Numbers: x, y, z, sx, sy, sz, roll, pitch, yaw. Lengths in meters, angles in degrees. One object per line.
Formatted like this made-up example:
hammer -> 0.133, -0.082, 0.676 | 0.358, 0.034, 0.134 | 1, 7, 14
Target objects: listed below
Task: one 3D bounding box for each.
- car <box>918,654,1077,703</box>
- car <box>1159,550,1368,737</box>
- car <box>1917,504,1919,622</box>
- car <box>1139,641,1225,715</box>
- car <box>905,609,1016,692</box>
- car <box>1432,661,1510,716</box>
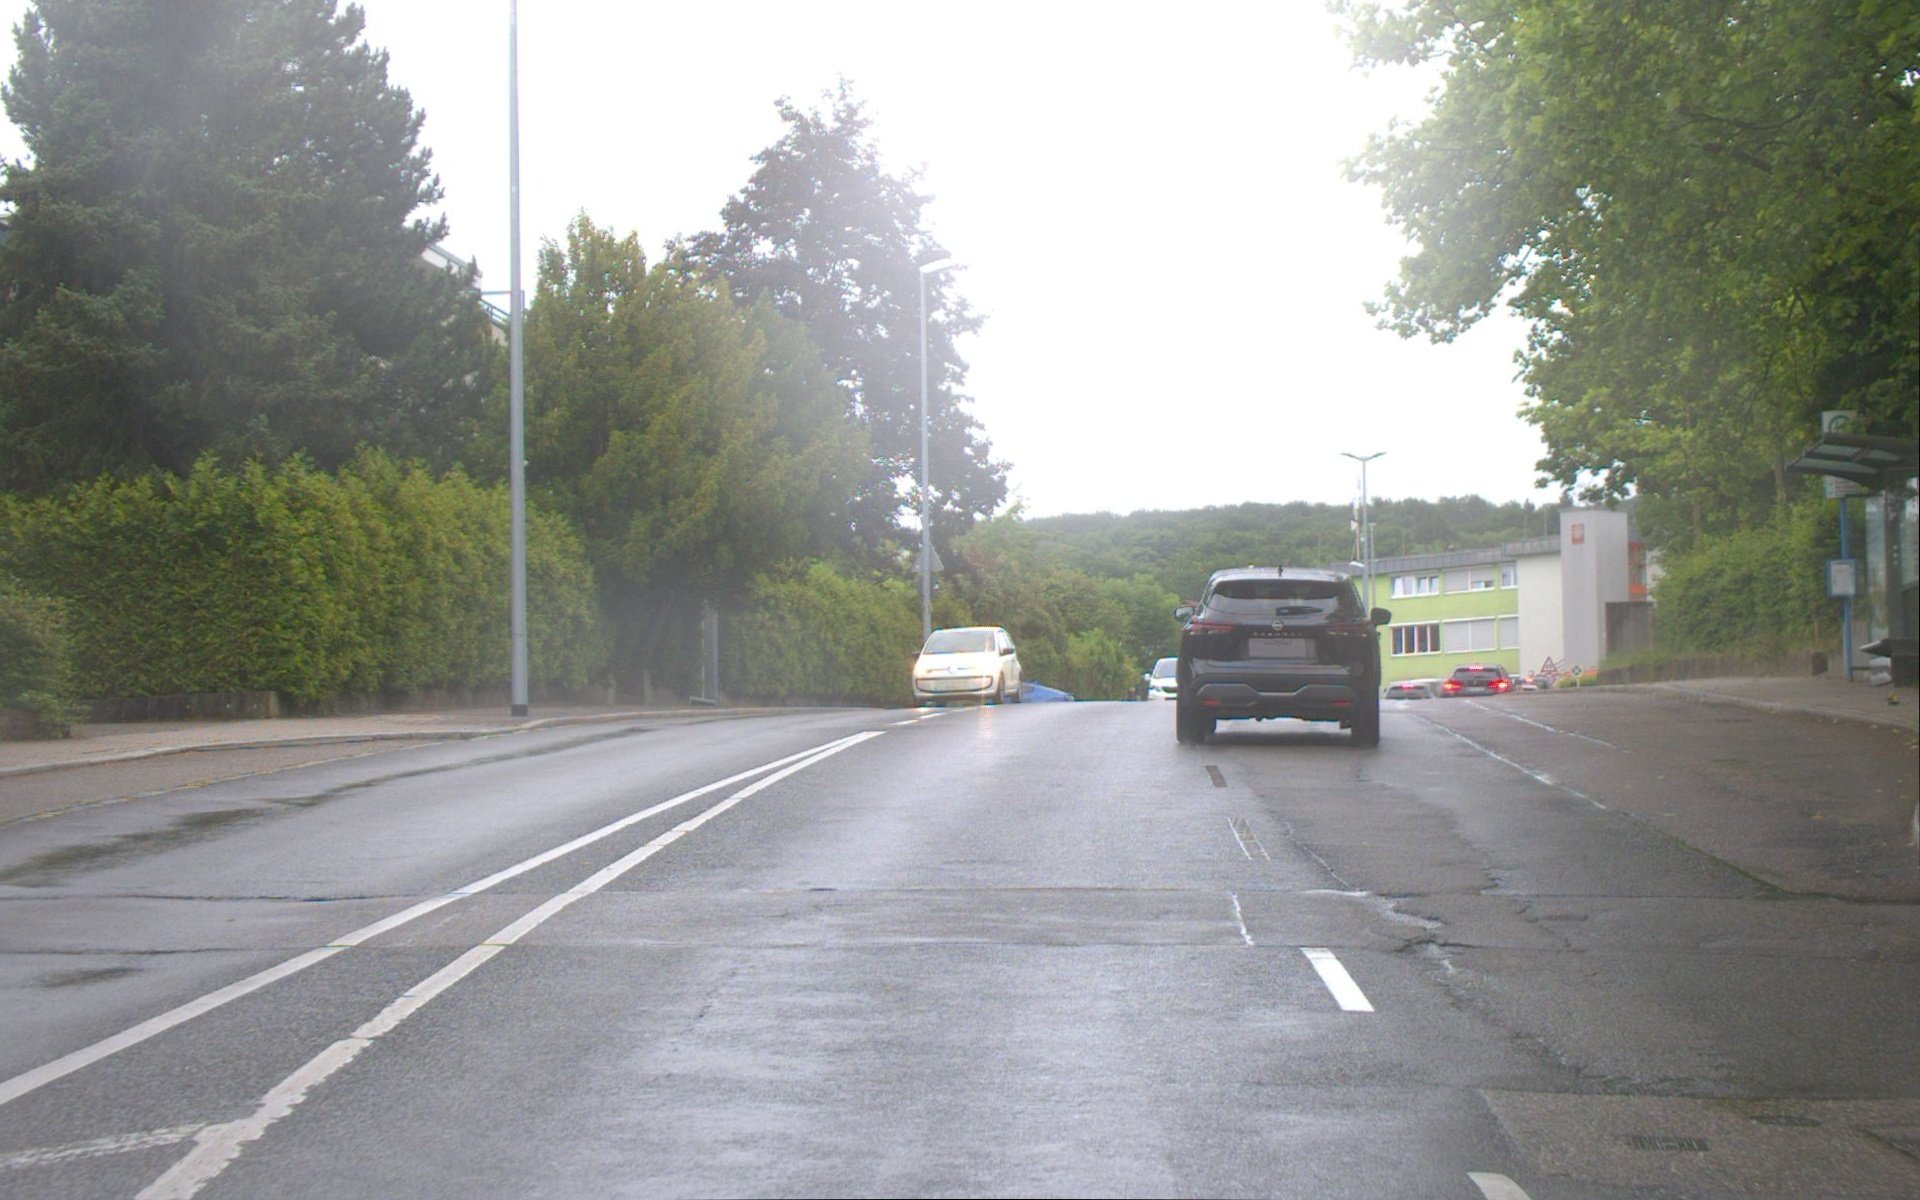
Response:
car -> 1.106, 2.301, 100.643 | 4.483, 1.358, 1.804 | 1, -2, 7
car -> 2.807, 0.355, 32.134 | 1.790, 1.598, 4.253 | 1, 1, 4
car -> 19.635, -0.667, 63.948 | 2.044, 2.276, 5.018 | 0, 1, -3
car -> 6.179, 2.146, 95.328 | 1.864, 1.910, 5.027 | -3, -1, 9
car -> 0.029, 0.909, 62.627 | 1.685, 1.449, 3.397 | -1, 0, 6
car -> 13.791, 2.371, 92.951 | 1.994, 1.437, 3.998 | 0, -1, 8
